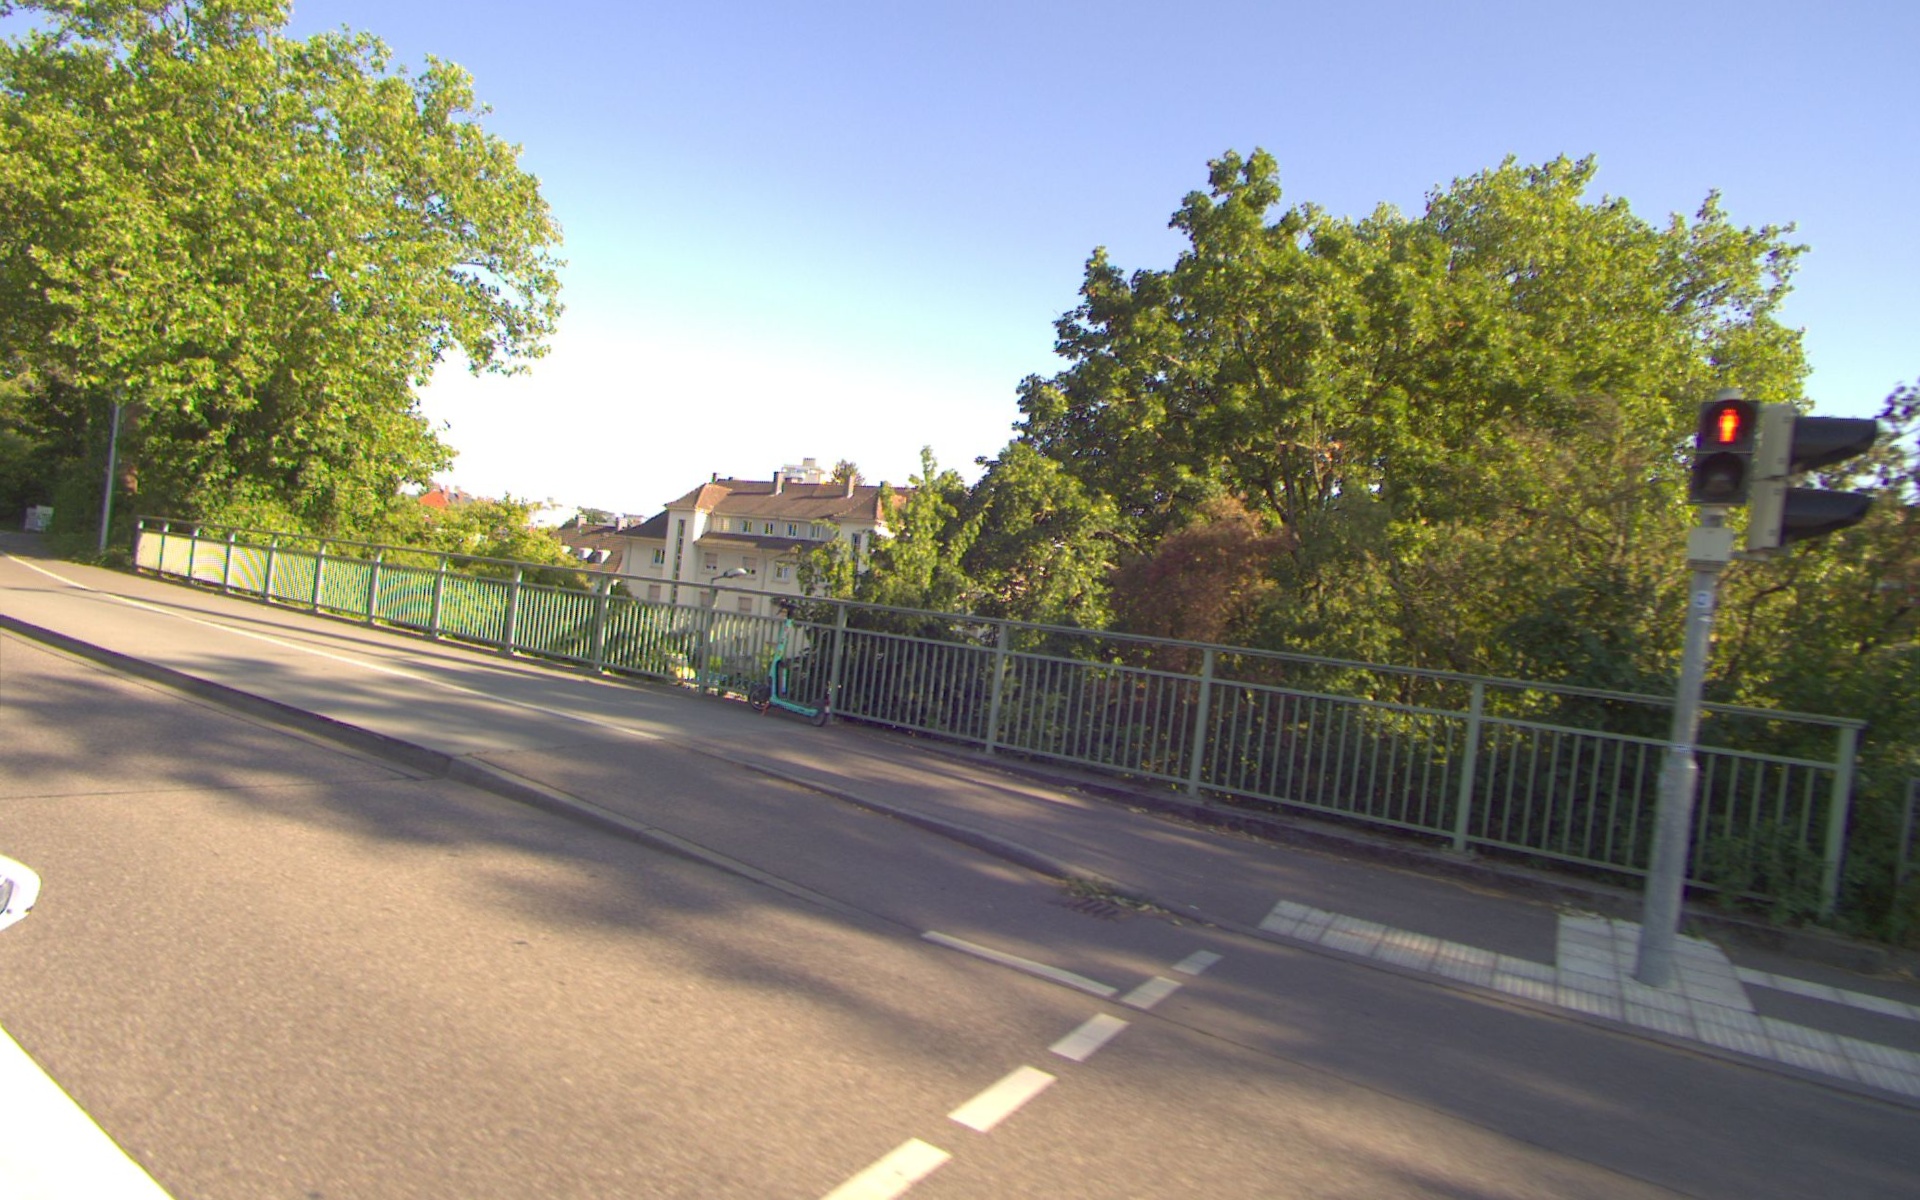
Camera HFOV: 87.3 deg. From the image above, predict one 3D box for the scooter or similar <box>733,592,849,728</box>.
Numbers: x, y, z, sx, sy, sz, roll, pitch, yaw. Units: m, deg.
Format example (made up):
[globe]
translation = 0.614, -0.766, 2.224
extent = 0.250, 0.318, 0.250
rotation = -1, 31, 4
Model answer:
[scooter or similar]
translation = -1.798, 0.626, 10.670
extent = 1.065, 1.291, 0.427
rotation = 7, 1, 32

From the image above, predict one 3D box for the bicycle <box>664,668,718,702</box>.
[bicycle]
translation = -7.702, 2.431, 28.818
extent = 1.577, 0.733, 0.431
rotation = 6, -4, 31
